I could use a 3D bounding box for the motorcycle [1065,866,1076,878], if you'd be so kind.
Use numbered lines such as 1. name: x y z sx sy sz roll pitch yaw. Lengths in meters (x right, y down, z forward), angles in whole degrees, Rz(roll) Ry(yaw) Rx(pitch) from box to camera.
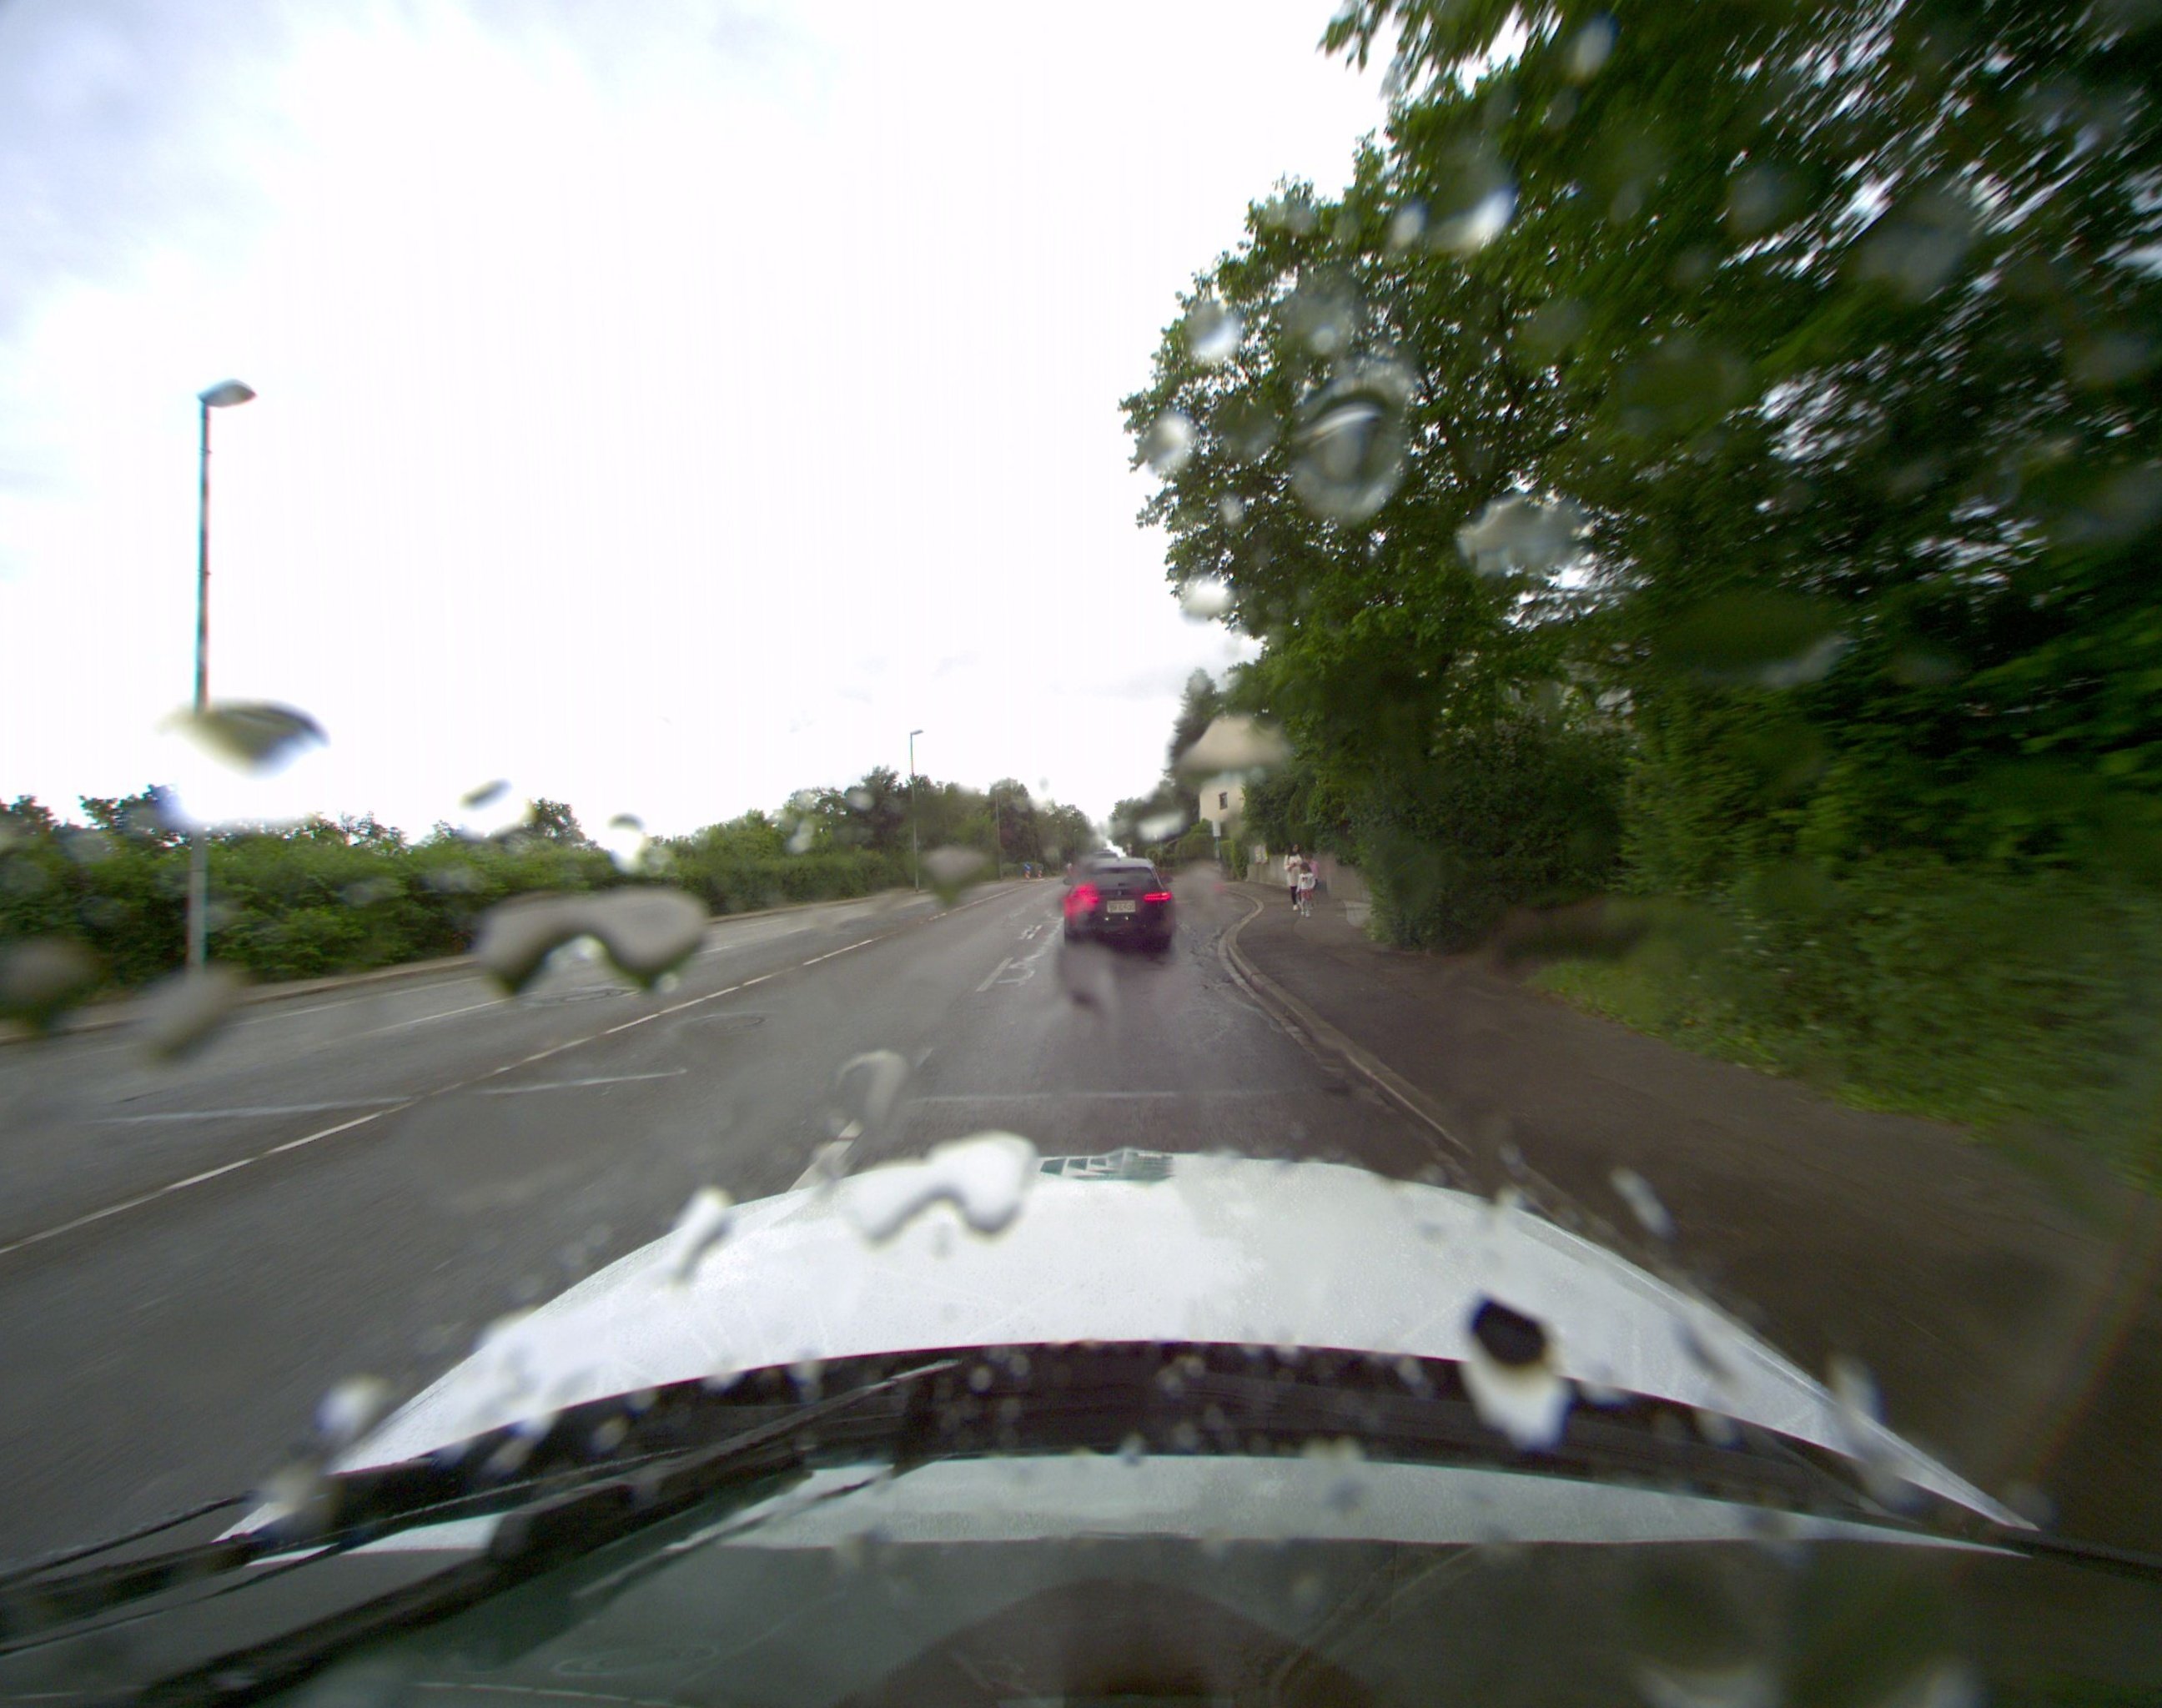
1. motorcycle: -0.994 1.682 77.062 0.872 1.124 2.742 -1 -1 2

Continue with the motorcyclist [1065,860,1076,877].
1. motorcyclist: -0.998 1.366 77.072 1.036 1.568 0.855 -1 -1 1

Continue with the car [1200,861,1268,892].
1. car: 9.662 1.447 51.475 3.706 1.299 1.761 11 -7 -18

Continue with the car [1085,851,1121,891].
1. car: 1.132 0.810 41.223 1.623 1.833 4.001 -4 0 2

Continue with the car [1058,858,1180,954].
1. car: 0.696 0.837 14.737 1.889 1.489 4.003 -1 -1 3

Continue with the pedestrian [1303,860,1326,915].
1. pedestrian: 4.941 0.706 17.236 0.365 1.146 0.367 -3 -1 10

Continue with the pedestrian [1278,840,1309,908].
1. pedestrian: 5.163 0.482 19.784 0.606 1.593 0.648 -3 -1 10

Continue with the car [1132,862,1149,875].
1. car: 7.237 1.777 98.438 1.927 1.442 4.413 -4 -1 4
